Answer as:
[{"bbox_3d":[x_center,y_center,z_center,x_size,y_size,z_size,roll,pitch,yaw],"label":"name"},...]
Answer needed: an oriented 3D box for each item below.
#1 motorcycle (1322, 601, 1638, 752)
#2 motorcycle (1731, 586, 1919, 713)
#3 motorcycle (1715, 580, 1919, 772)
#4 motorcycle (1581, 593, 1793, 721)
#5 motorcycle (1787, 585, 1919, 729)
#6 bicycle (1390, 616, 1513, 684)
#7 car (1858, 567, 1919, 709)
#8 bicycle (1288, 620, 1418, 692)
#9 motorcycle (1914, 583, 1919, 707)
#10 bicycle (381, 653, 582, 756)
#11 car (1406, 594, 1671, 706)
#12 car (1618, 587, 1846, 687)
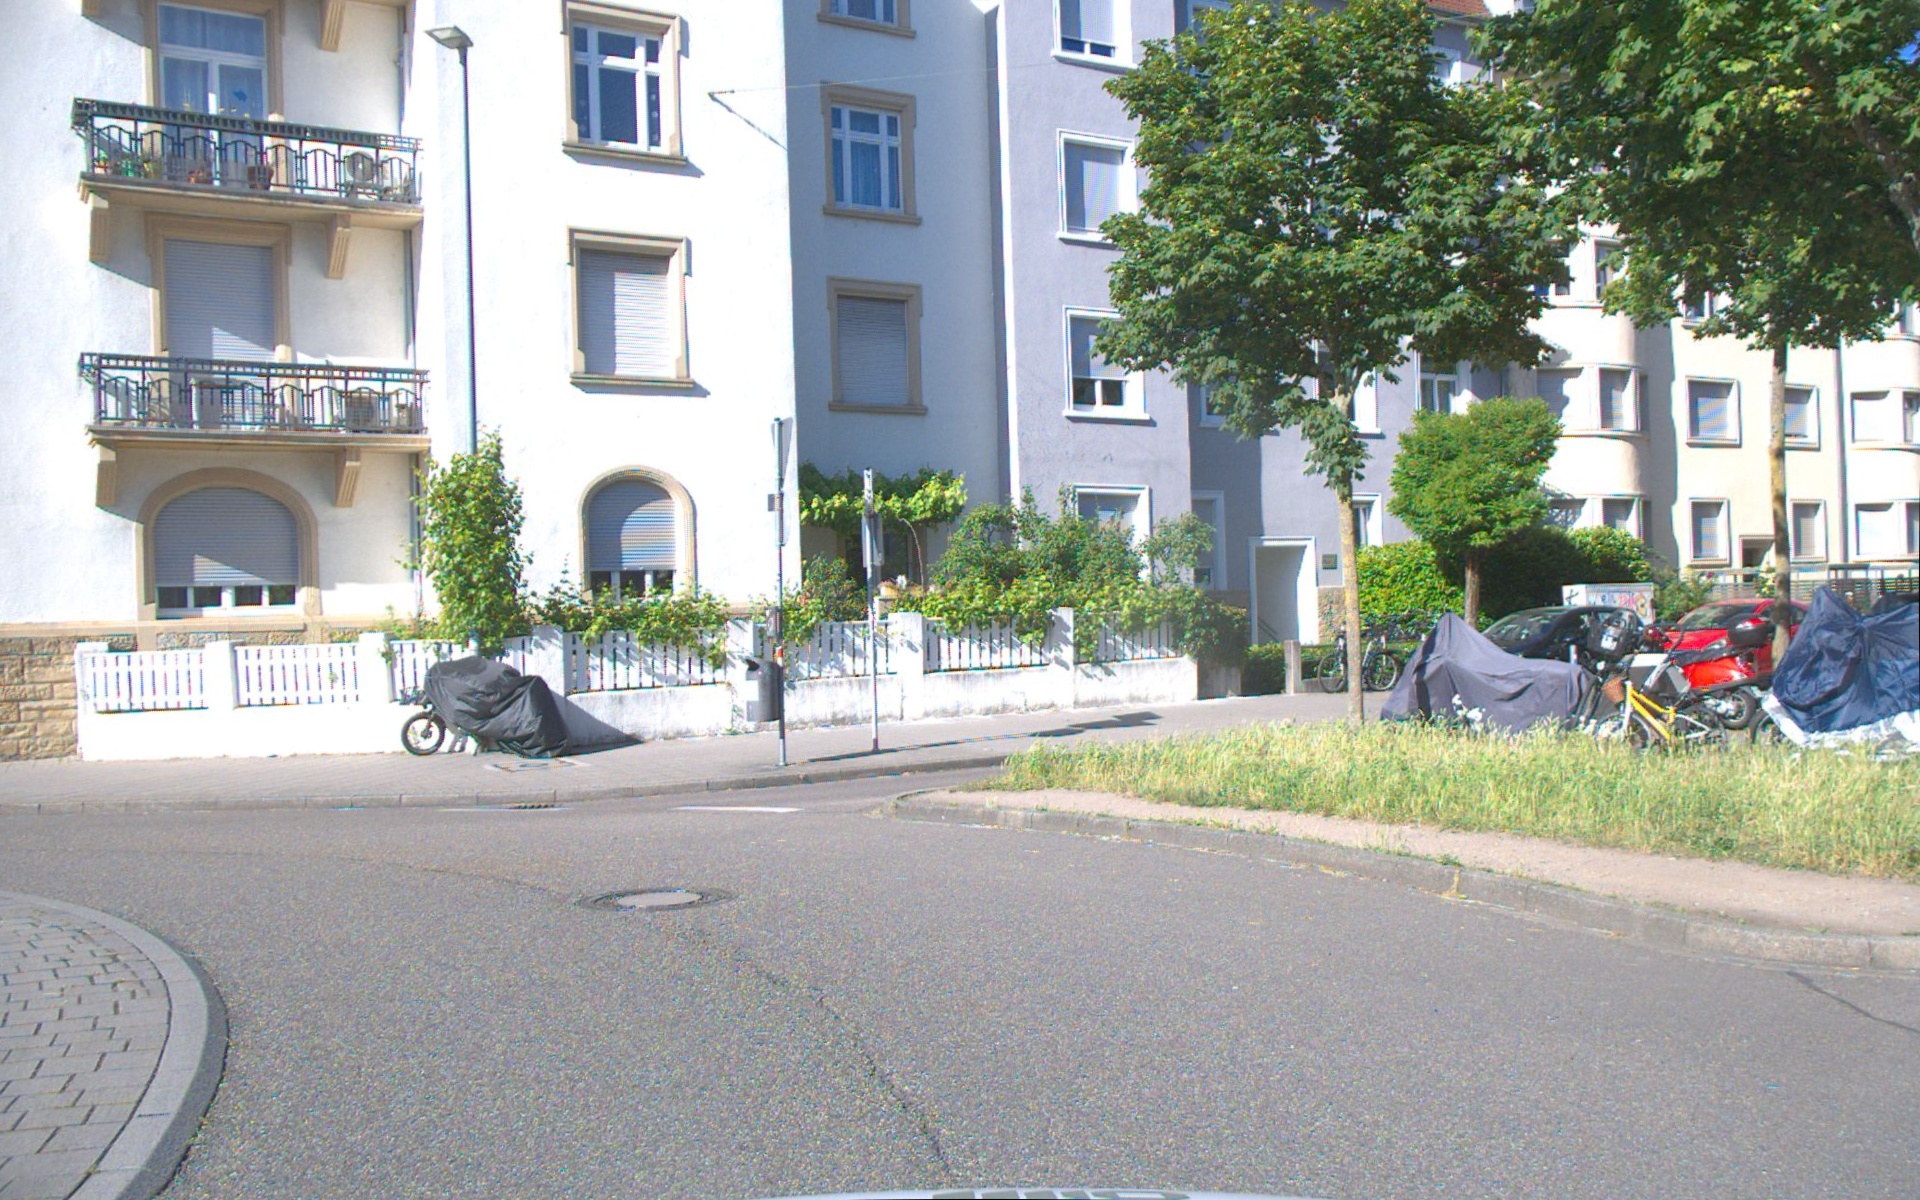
[{"bbox_3d":[4.909,0.709,15.867,1.114,1.290,2.748,-2,-1,-36],"label":"motorcycle"},{"bbox_3d":[9.739,0.522,18.010,1.038,1.290,2.218,-2,-1,-31],"label":"motorcycle"},{"bbox_3d":[6.841,0.539,12.326,0.853,1.351,2.029,-2,-1,-34],"label":"motorcycle"},{"bbox_3d":[7.677,0.594,17.551,0.878,1.258,1.874,-2,-1,-31],"label":"motorcycle"},{"bbox_3d":[9.009,0.506,15.278,1.038,1.290,2.218,-2,-1,-31],"label":"motorcycle"},{"bbox_3d":[8.619,0.860,28.965,2.225,1.078,0.676,-2,-1,-29],"label":"bicycle"},{"bbox_3d":[12.212,0.408,18.769,1.762,1.668,3.874,-2,0,-2],"label":"car"},{"bbox_3d":[6.574,0.920,27.621,2.225,1.078,0.676,-2,-1,-29],"label":"bicycle"},{"bbox_3d":[10.304,0.440,15.387,1.038,1.290,2.218,-2,-1,-31],"label":"motorcycle"},{"bbox_3d":[-5.789,1.263,20.027,2.230,1.178,0.767,-2,-1,13],"label":"bicycle"},{"bbox_3d":[8.755,0.739,24.959,3.908,1.470,1.733,-2,-2,-34],"label":"car"},{"bbox_3d":[12.942,0.591,27.685,3.808,1.470,1.733,-2,0,-34],"label":"car"}]
